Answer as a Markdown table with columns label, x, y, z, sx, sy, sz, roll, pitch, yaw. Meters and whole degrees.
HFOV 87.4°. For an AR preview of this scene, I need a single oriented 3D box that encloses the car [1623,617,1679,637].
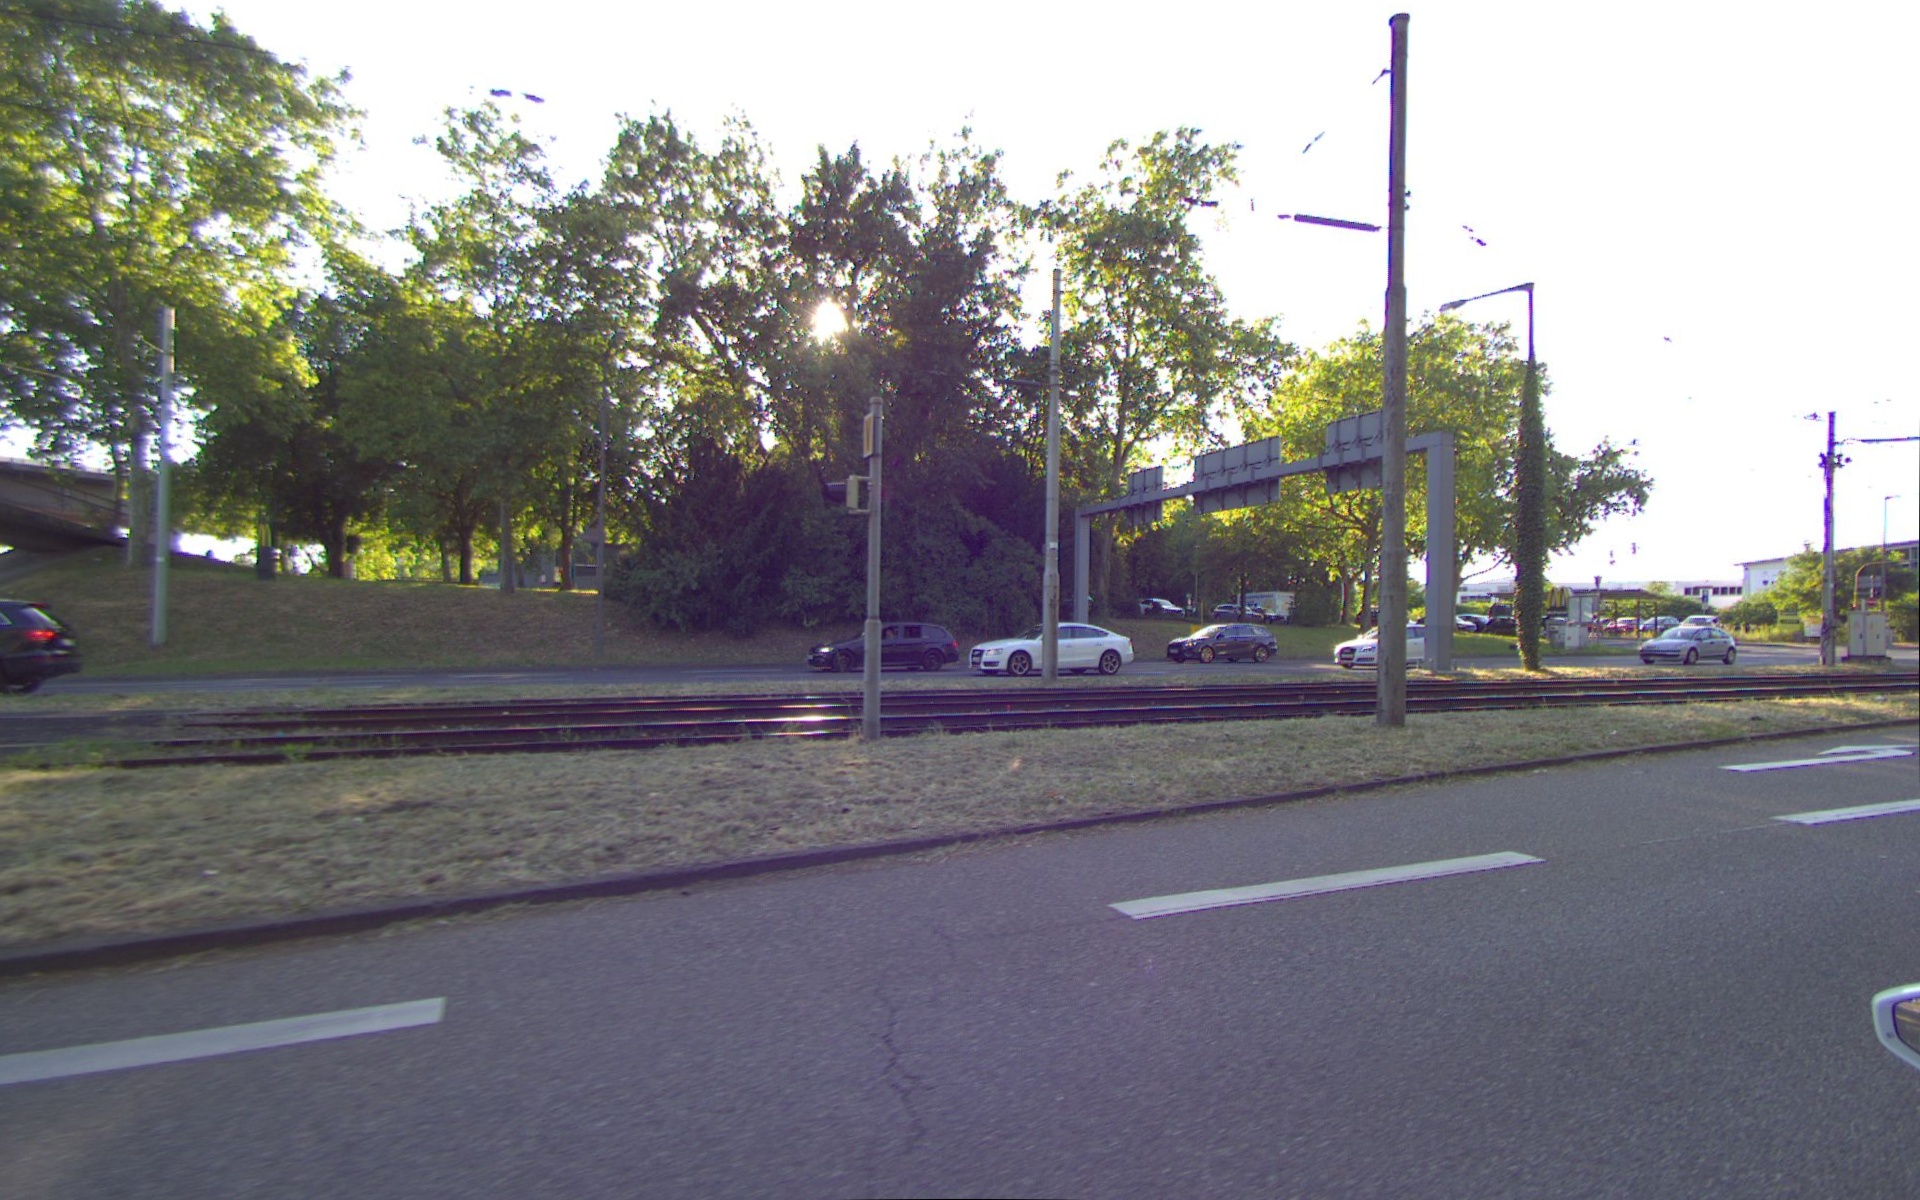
| label | x | y | z | sx | sy | sz | roll | pitch | yaw |
| --- | --- | --- | --- | --- | --- | --- | --- | --- | --- |
| car | 55.130 | 2.147 | 80.156 | 3.942 | 1.461 | 1.837 | 1 | 0 | -22 |

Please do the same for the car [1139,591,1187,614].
| label | x | y | z | sx | sy | sz | roll | pitch | yaw |
| --- | --- | --- | --- | --- | --- | --- | --- | --- | --- |
| car | 14.926 | 0.176 | 73.958 | 1.830 | 1.550 | 3.986 | 1 | 0 | -16 |

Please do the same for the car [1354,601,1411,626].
| label | x | y | z | sx | sy | sz | roll | pitch | yaw |
| --- | --- | --- | --- | --- | --- | --- | --- | --- | --- |
| car | 33.855 | 1.049 | 80.611 | 1.971 | 1.884 | 3.980 | 1 | 0 | -21 |

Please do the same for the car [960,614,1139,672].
| label | x | y | z | sx | sy | sz | roll | pitch | yaw |
| --- | --- | --- | --- | --- | --- | --- | --- | --- | --- |
| car | 2.422 | 1.138 | 27.027 | 4.540 | 1.434 | 1.832 | 1 | -1 | -27 |

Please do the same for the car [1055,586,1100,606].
| label | x | y | z | sx | sy | sz | roll | pitch | yaw |
| --- | --- | --- | --- | --- | --- | --- | --- | --- | --- |
| car | 8.244 | -0.314 | 70.728 | 1.503 | 1.350 | 3.501 | 1 | 0 | -24 |

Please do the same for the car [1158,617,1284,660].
| label | x | y | z | sx | sy | sz | roll | pitch | yaw |
| --- | --- | --- | --- | --- | --- | --- | --- | --- | --- |
| car | 10.002 | 1.464 | 38.473 | 4.538 | 1.501 | 1.832 | 2 | 0 | -26 |

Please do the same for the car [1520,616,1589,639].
| label | x | y | z | sx | sy | sz | roll | pitch | yaw |
| --- | --- | --- | --- | --- | --- | --- | --- | --- | --- |
| car | 41.871 | 1.931 | 70.832 | 1.756 | 1.405 | 4.052 | 1 | 0 | -18 |

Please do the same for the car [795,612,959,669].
| label | x | y | z | sx | sy | sz | roll | pitch | yaw |
| --- | --- | --- | --- | --- | --- | --- | --- | --- | --- |
| car | -2.414 | 1.177 | 29.323 | 4.377 | 1.501 | 1.832 | 1 | 0 | -26 |

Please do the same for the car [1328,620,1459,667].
| label | x | y | z | sx | sy | sz | roll | pitch | yaw |
| --- | --- | --- | --- | --- | --- | --- | --- | --- | --- |
| car | 14.319 | 1.431 | 33.129 | 4.203 | 1.435 | 1.647 | 1 | 0 | -27 |

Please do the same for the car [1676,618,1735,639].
| label | x | y | z | sx | sy | sz | roll | pitch | yaw |
| --- | --- | --- | --- | --- | --- | --- | --- | --- | --- |
| car | 57.066 | 2.185 | 76.932 | 3.942 | 1.461 | 1.837 | 1 | 0 | -22 |

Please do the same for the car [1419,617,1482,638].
| label | x | y | z | sx | sy | sz | roll | pitch | yaw |
| --- | --- | --- | --- | --- | --- | --- | --- | --- | --- |
| car | 36.578 | 2.015 | 74.952 | 1.759 | 1.405 | 4.045 | 1 | 0 | -23 |

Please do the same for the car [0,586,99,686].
| label | x | y | z | sx | sy | sz | roll | pitch | yaw |
| --- | --- | --- | --- | --- | --- | --- | --- | --- | --- |
| car | -17.860 | 0.572 | 17.191 | 4.380 | 1.677 | 1.831 | 1 | 0 | -28 |

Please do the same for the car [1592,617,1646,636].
| label | x | y | z | sx | sy | sz | roll | pitch | yaw |
| --- | --- | --- | --- | --- | --- | --- | --- | --- | --- |
| car | 54.397 | 2.177 | 82.942 | 3.942 | 1.461 | 1.837 | 1 | 0 | -22 |

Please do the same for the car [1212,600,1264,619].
| label | x | y | z | sx | sy | sz | roll | pitch | yaw |
| --- | --- | --- | --- | --- | --- | --- | --- | --- | --- |
| car | 21.311 | 0.727 | 77.237 | 1.651 | 1.390 | 3.974 | 1 | 0 | -26 |

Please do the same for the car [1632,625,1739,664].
| label | x | y | z | sx | sy | sz | roll | pitch | yaw |
| --- | --- | --- | --- | --- | --- | --- | --- | --- | --- |
| car | 28.780 | 1.739 | 39.830 | 4.201 | 1.435 | 1.648 | 1 | 0 | -25 |

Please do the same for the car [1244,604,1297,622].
| label | x | y | z | sx | sy | sz | roll | pitch | yaw |
| --- | --- | --- | --- | --- | --- | --- | --- | --- | --- |
| car | 24.248 | 1.030 | 78.573 | 1.651 | 1.277 | 3.974 | 1 | 0 | -26 |

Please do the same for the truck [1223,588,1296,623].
| label | x | y | z | sx | sy | sz | roll | pitch | yaw |
| --- | --- | --- | --- | --- | --- | --- | --- | --- | --- |
| truck | 31.781 | 0.539 | 107.001 | 2.696 | 3.433 | 8.269 | 1 | 0 | -23 |

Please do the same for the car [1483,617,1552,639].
| label | x | y | z | sx | sy | sz | roll | pitch | yaw |
| --- | --- | --- | --- | --- | --- | --- | --- | --- | --- |
| car | 38.703 | 1.926 | 69.846 | 1.756 | 1.405 | 4.052 | 1 | 0 | -18 |
